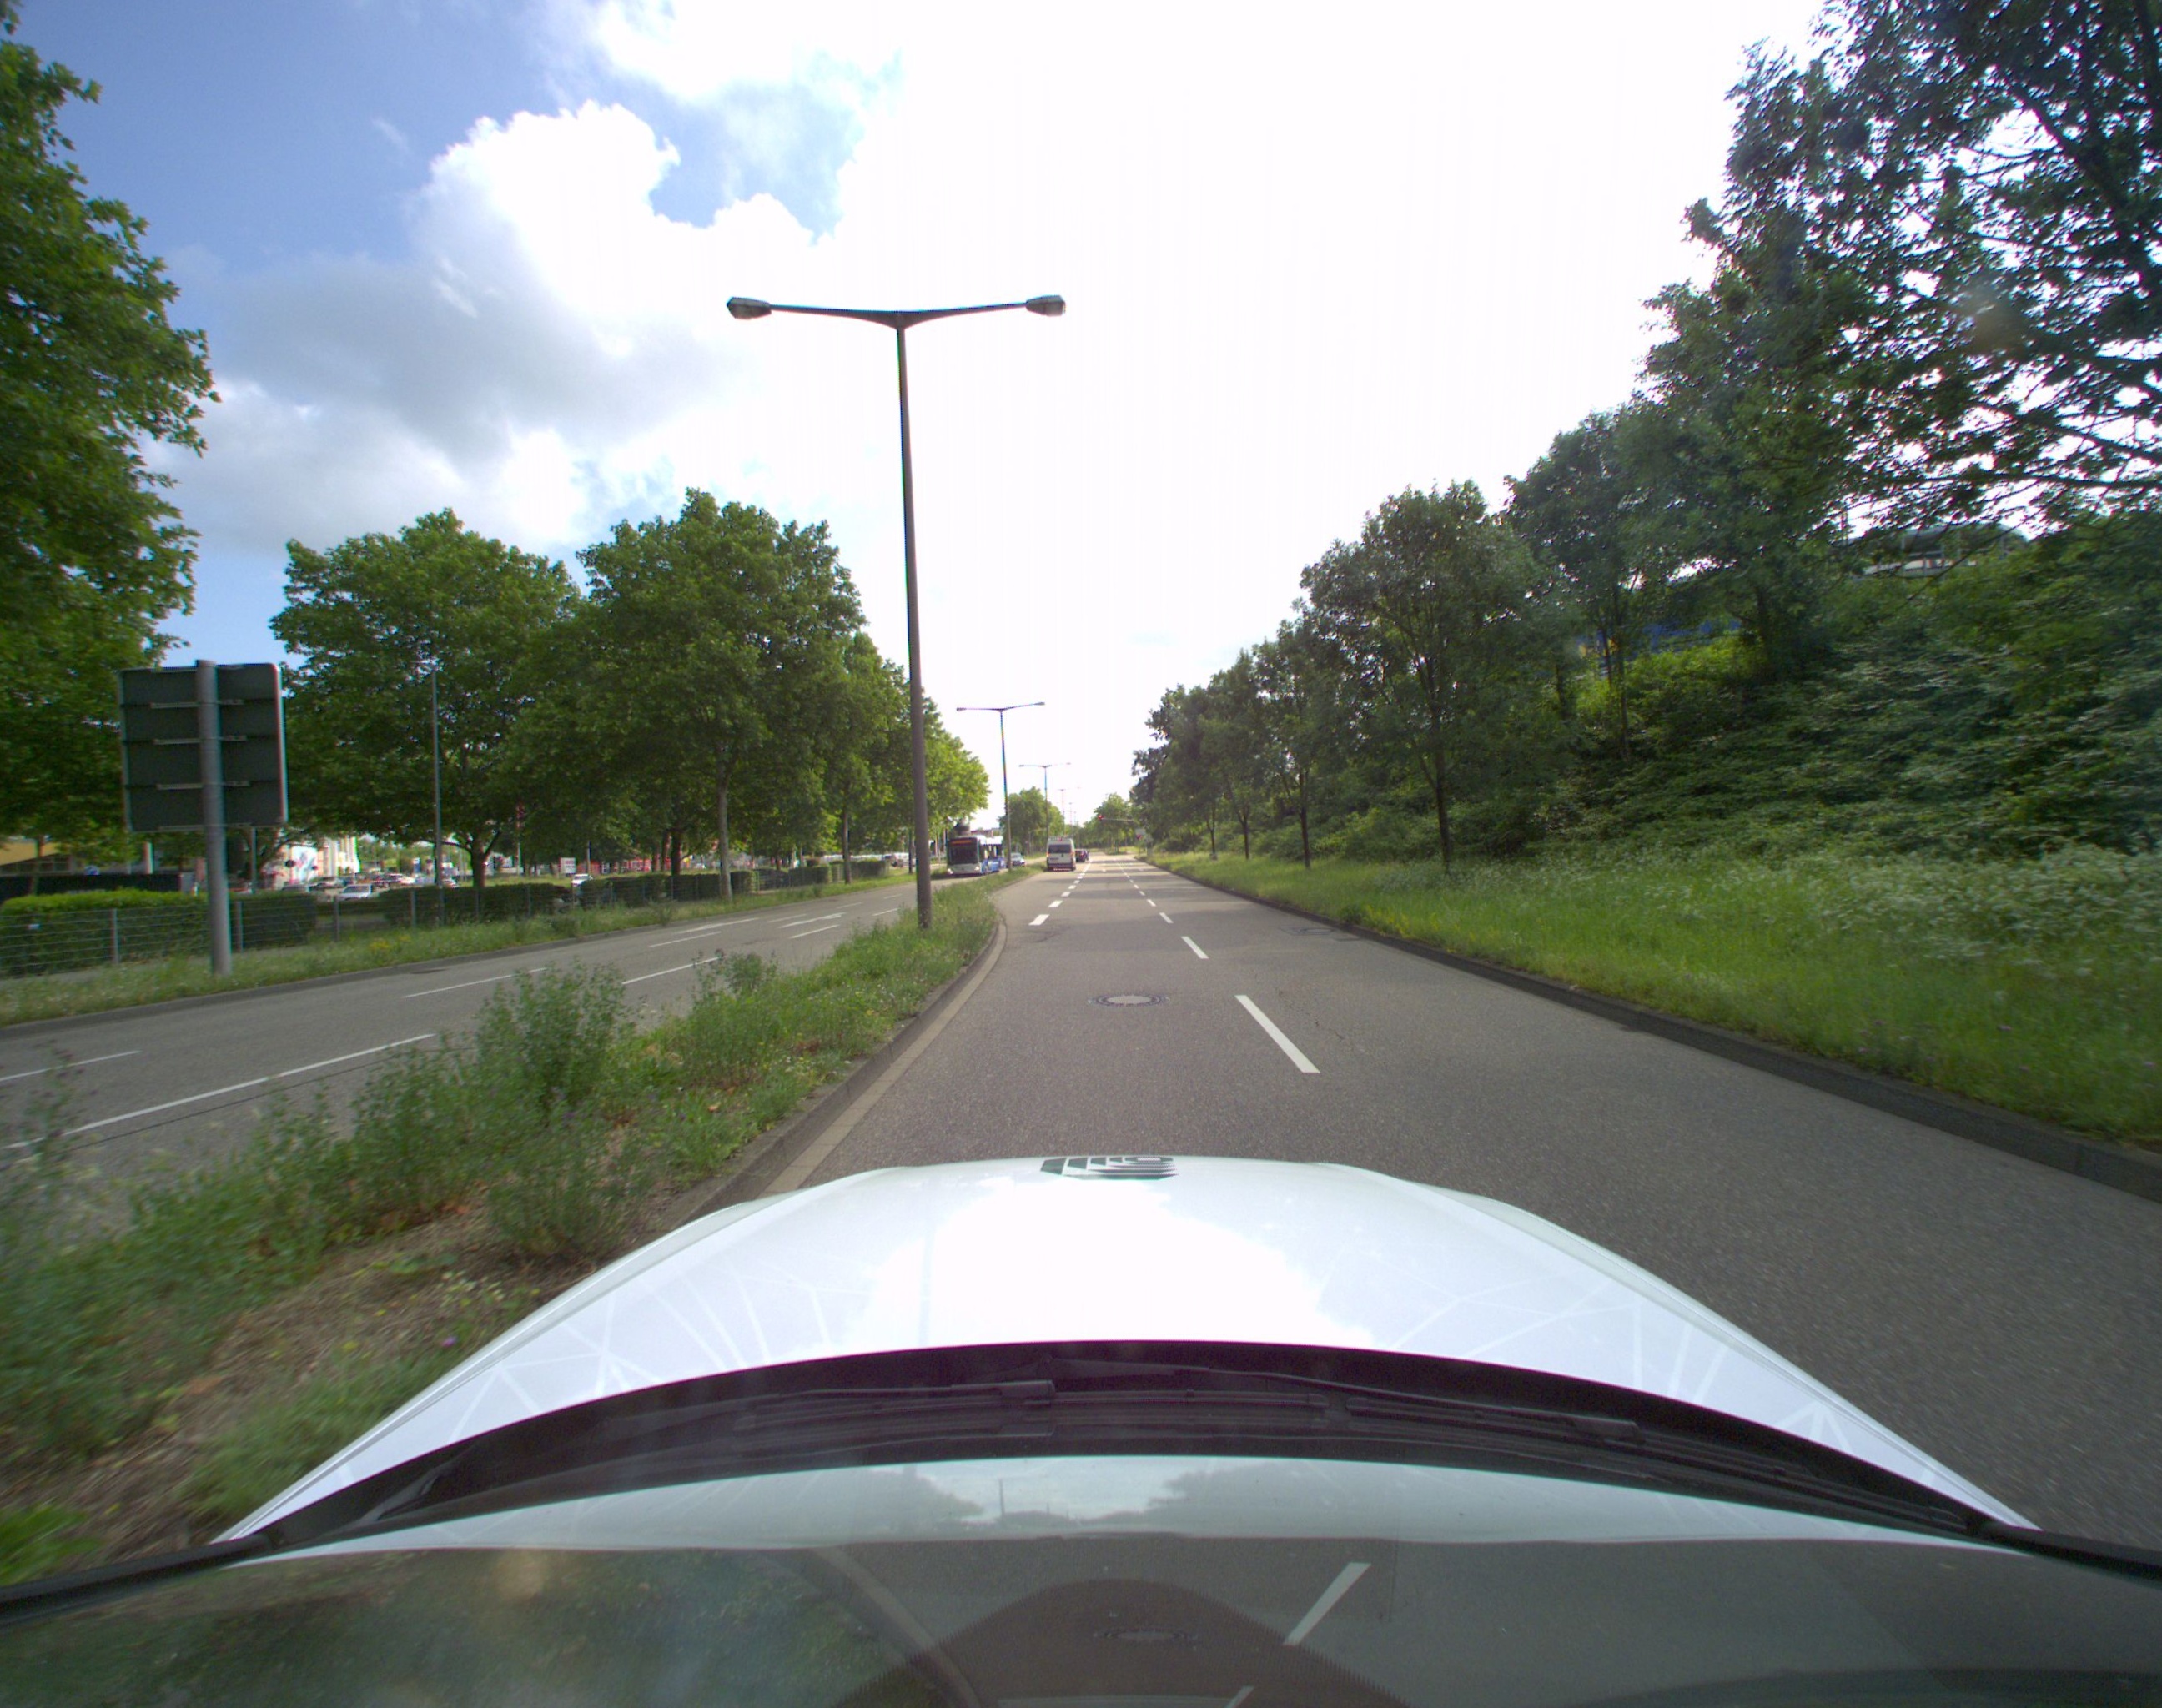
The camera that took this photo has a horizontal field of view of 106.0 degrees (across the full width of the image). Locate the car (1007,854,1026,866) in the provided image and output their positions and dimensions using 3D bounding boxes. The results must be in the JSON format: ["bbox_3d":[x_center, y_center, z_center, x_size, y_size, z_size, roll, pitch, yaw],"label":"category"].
[{"bbox_3d":[-6.484,0.609,82.093,1.553,1.041,3.415,-3,-1,1],"label":"car"}]

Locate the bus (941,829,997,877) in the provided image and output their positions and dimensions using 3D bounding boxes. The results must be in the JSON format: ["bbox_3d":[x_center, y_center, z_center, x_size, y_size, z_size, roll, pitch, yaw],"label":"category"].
[{"bbox_3d":[-8.704,0.004,64.765,3.102,3.274,12.325,-3,-1,-2],"label":"bus"}]

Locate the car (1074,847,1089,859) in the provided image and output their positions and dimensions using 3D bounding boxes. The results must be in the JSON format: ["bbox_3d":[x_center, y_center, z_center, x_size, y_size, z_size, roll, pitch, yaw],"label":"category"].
[{"bbox_3d":[0.059,-0.076,107.556,1.802,1.470,3.851,-3,0,-4],"label":"car"}]

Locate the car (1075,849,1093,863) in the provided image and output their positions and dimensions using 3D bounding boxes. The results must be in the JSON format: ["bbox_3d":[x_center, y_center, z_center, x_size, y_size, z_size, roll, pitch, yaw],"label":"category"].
[{"bbox_3d":[0.312,0.224,95.740,1.802,1.470,3.851,-3,0,-4],"label":"car"}]

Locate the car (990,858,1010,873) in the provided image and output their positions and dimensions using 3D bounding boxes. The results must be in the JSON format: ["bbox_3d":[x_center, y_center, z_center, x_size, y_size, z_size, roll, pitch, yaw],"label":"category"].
[{"bbox_3d":[-9.560,1.380,96.223,1.877,1.583,3.881,-1,-4,1],"label":"car"}]

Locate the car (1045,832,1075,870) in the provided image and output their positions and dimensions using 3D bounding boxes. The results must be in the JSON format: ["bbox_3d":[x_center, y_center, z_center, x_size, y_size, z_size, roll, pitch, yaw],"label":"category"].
[{"bbox_3d":[-1.554,-0.261,62.972,2.191,2.725,4.931,-1,2,-1],"label":"car"}]

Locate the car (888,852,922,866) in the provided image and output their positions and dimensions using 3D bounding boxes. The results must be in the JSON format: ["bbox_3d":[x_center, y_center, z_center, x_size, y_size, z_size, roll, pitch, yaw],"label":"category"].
[{"bbox_3d":[-23.847,0.697,110.447,4.019,1.838,1.844,2,-5,-38],"label":"car"}]

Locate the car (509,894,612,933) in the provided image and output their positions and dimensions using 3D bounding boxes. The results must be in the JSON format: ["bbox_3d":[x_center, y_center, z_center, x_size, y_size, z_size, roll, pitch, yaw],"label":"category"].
[{"bbox_3d":[-23.064,2.638,36.301,1.885,1.596,4.000,-1,-4,1],"label":"car"}]
